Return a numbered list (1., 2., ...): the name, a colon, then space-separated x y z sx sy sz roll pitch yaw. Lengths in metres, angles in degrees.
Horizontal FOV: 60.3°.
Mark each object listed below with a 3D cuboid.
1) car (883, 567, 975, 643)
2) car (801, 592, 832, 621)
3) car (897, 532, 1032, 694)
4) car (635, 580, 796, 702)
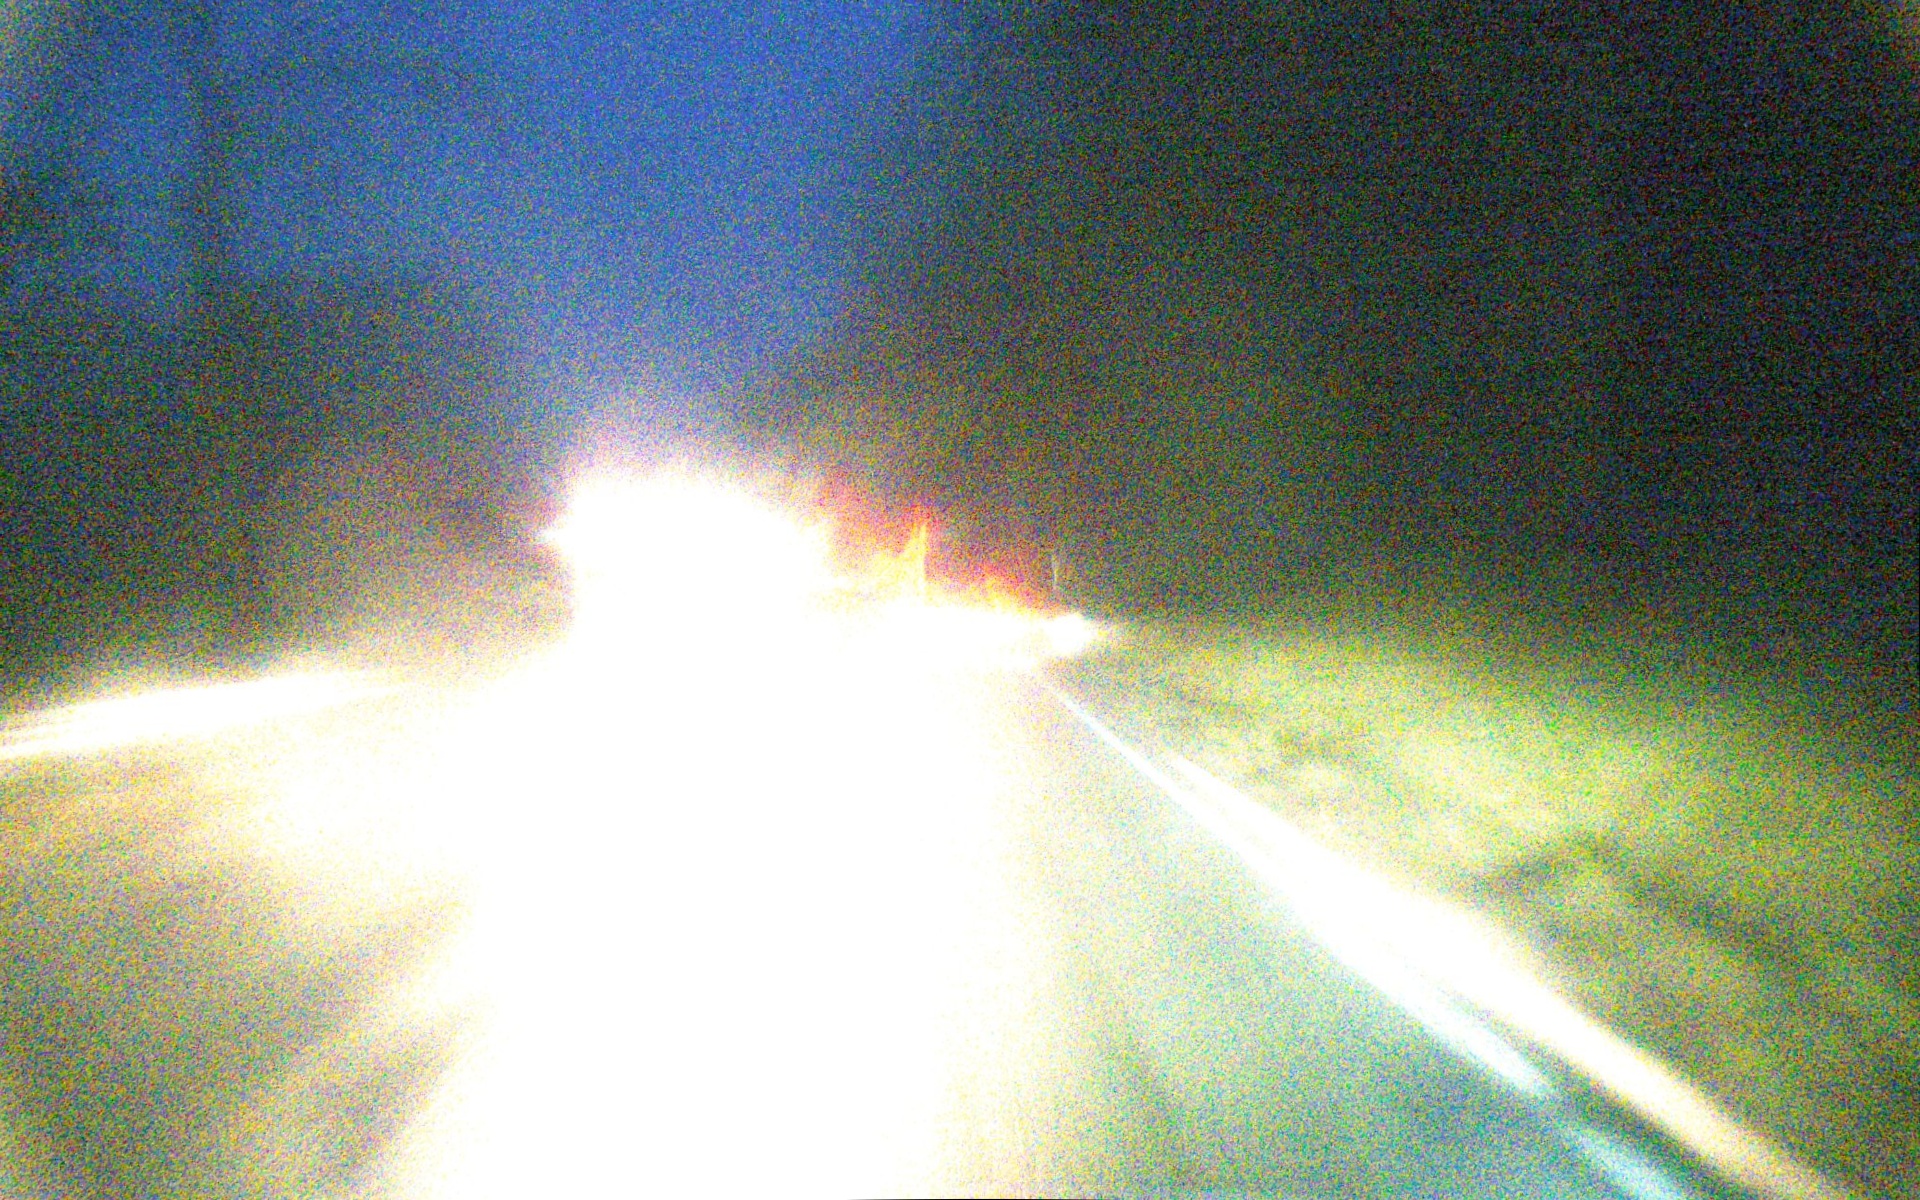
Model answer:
1. car: -1.189 0.112 65.134 3.313 2.601 7.336 2 2 -1
2. car: -10.803 0.492 125.038 1.953 2.048 3.999 -3 0 -1
3. car: 0.048 0.138 29.587 2.137 2.601 4.508 2 2 -1
4. car: -3.276 0.546 22.932 1.882 1.497 4.569 -1 -1 -5
